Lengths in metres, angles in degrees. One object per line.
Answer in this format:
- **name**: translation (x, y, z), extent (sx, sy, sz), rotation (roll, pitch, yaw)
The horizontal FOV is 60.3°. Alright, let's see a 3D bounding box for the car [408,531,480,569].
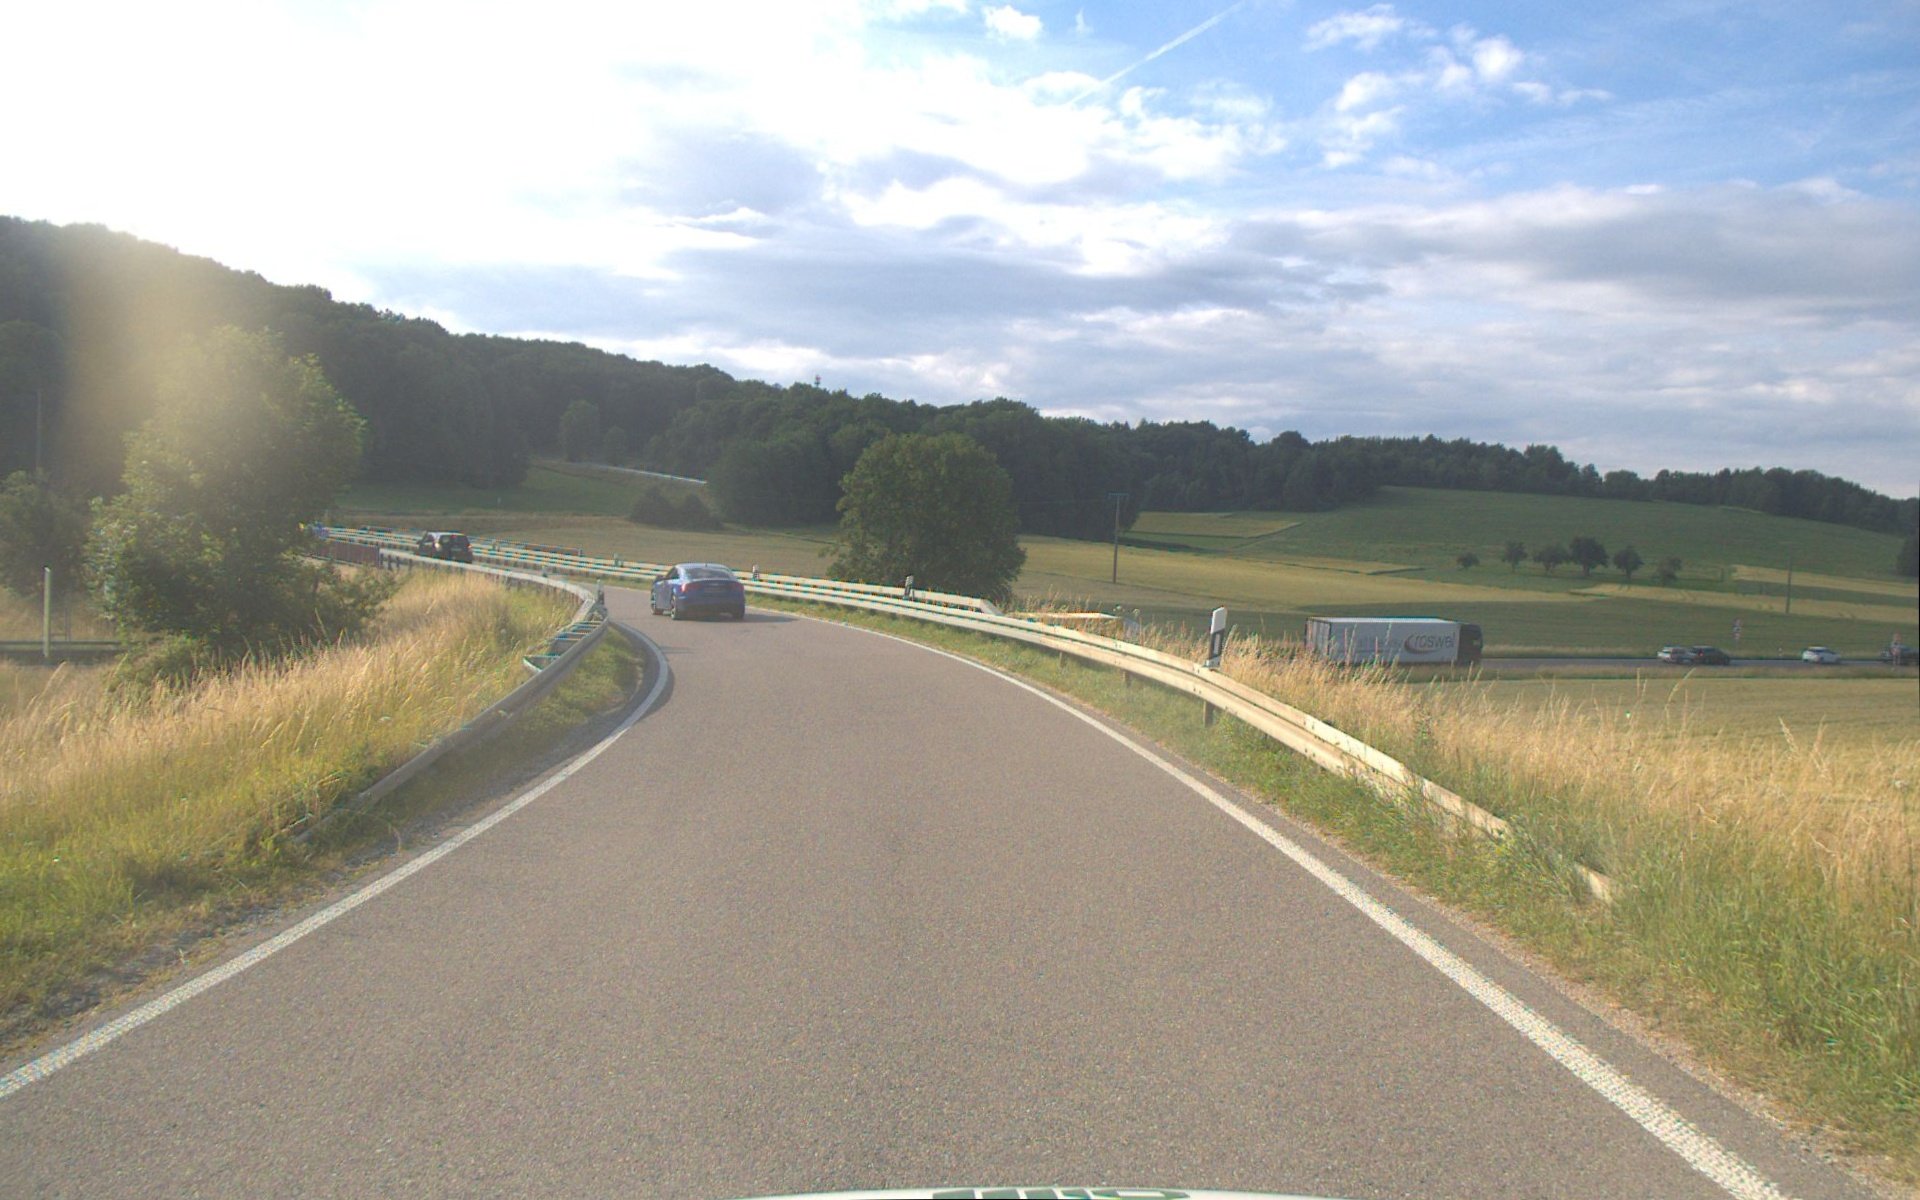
- **car**: translation (-23.724, -2.304, 75.984), extent (1.849, 1.596, 3.945), rotation (1, 1, -39)

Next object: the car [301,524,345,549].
- **car**: translation (-38.742, -3.880, 100.589), extent (1.667, 1.399, 3.954), rotation (1, 3, -34)

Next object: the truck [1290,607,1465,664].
- **truck**: translation (31.375, 2.611, 123.806), extent (14.236, 4.067, 4.035), rotation (0, -1, -32)

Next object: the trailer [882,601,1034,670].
- **trailer**: translation (-0.100, 2.229, 104.654), extent (9.018, 4.131, 3.793), rotation (1, 1, -34)

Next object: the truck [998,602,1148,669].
- **truck**: translation (7.555, 2.329, 109.893), extent (9.683, 4.131, 3.793), rotation (1, 1, -34)

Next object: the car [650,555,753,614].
- **car**: translation (-6.751, -0.444, 42.829), extent (1.792, 1.362, 4.324), rotation (-1, 3, -21)
